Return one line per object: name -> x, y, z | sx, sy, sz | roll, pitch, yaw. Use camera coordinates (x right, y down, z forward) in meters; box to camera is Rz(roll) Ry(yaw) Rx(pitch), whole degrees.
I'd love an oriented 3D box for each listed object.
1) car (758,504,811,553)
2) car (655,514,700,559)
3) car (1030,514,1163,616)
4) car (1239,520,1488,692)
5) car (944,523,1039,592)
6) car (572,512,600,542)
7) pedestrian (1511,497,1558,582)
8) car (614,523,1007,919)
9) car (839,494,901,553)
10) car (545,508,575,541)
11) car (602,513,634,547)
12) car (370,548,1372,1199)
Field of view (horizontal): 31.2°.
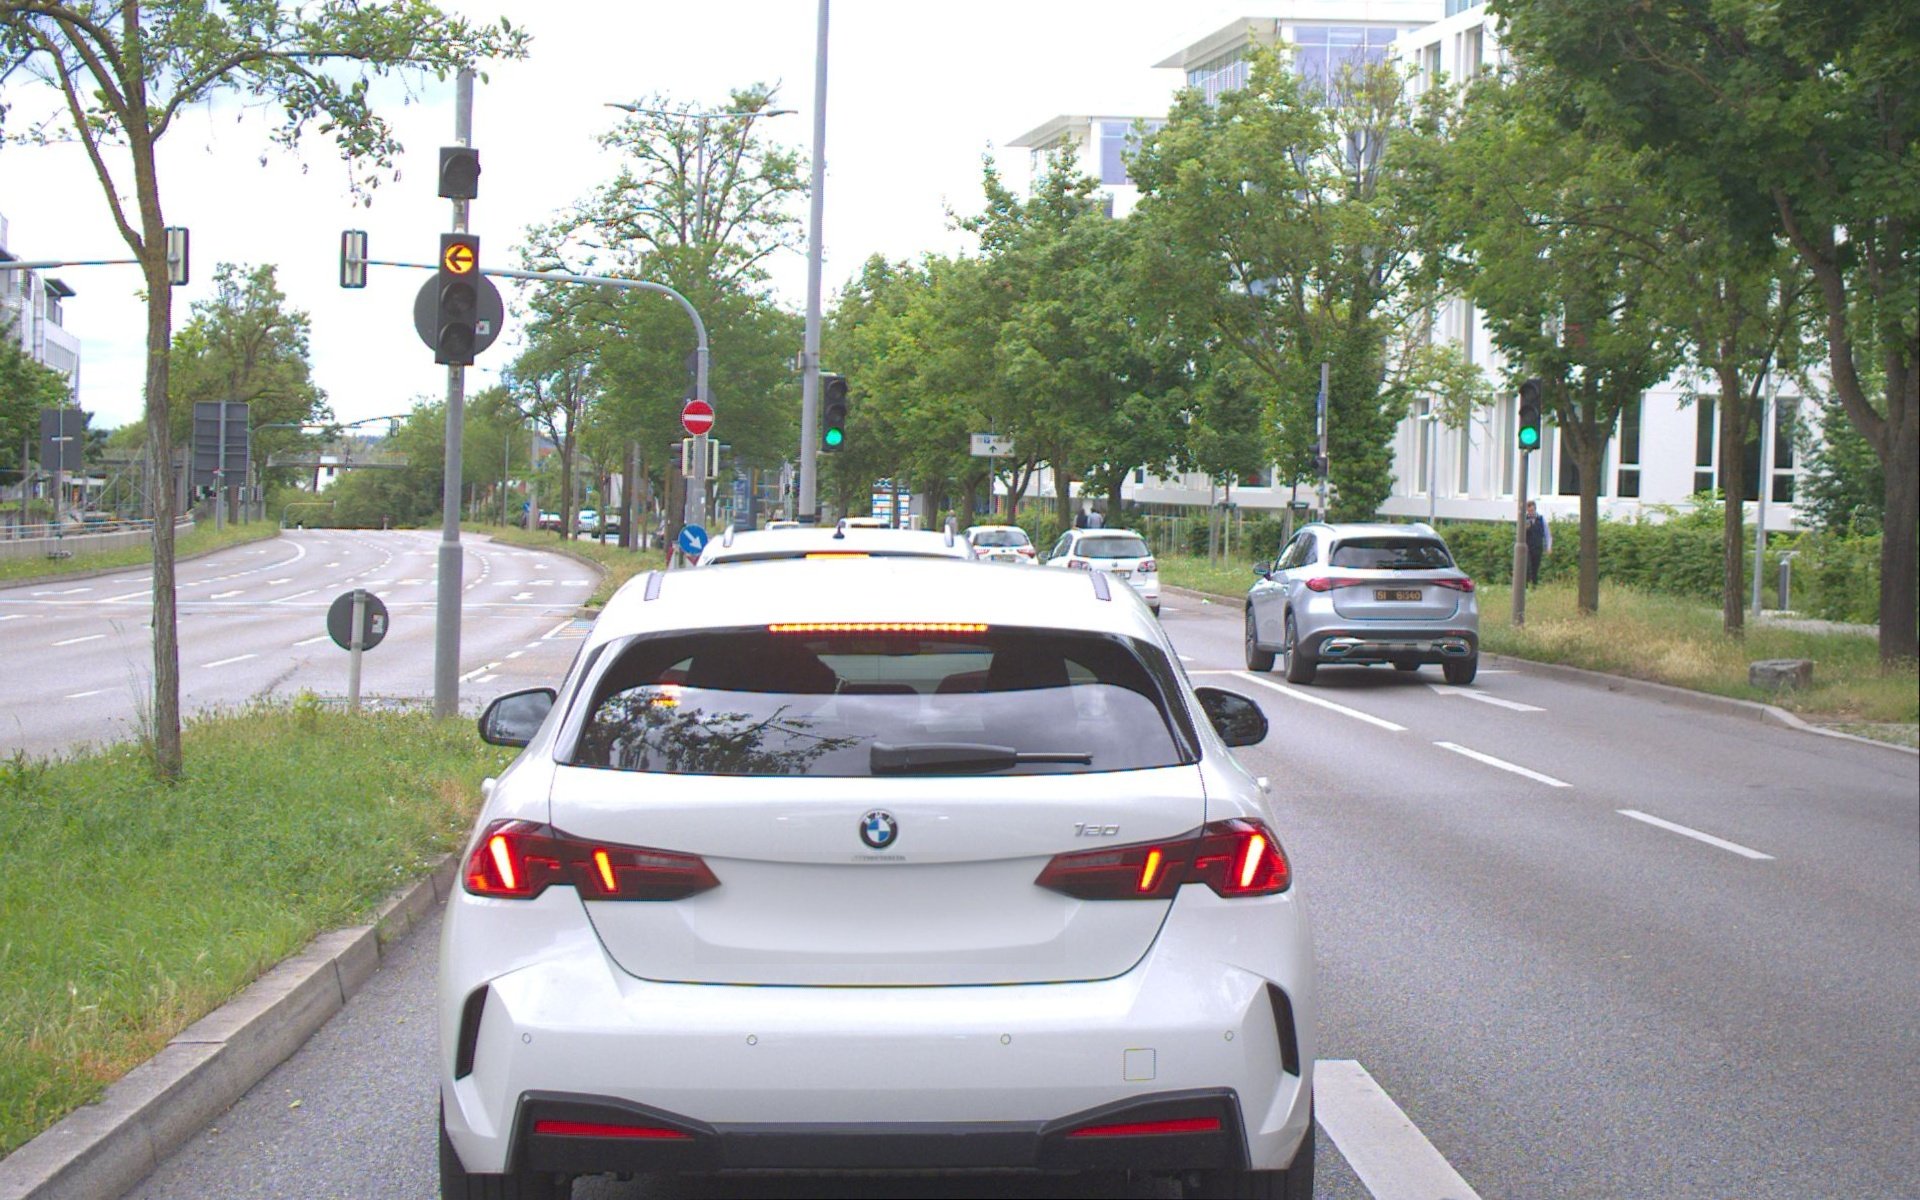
car -> -6.185, -2.513, 121.455 | 1.738, 1.661, 4.001 | 1, 1, -2
car -> -10.696, -2.415, 130.350 | 1.601, 1.661, 4.001 | 1, 1, -4
car -> 2.380, -0.645, 60.829 | 1.695, 1.711, 4.001 | 1, 1, -7
car -> 4.113, 0.020, 35.668 | 1.993, 1.664, 4.000 | 0, 1, -2
car -> 0.680, -0.970, 76.904 | 1.692, 1.481, 3.694 | 1, 1, -6
car -> -25.784, -5.013, 236.869 | 1.837, 2.007, 4.001 | 1, 1, -6
pedestrian -> 10.775, -1.137, 64.483 | 0.741, 1.568, 0.674 | 1, 0, -1
car -> -0.627, 0.450, 15.860 | 1.549, 1.563, 4.000 | 1, 1, -1
car -> -2.675, -2.249, 101.302 | 1.601, 1.661, 4.001 | 1, 1, -4
car -> -25.160, -4.733, 216.301 | 1.837, 2.007, 4.001 | 1, 1, -6
car -> -20.868, -4.250, 209.774 | 1.837, 2.007, 4.001 | 1, 1, -6
car -> -0.190, 0.620, 8.342 | 1.822, 1.433, 4.000 | 1, 1, -1
